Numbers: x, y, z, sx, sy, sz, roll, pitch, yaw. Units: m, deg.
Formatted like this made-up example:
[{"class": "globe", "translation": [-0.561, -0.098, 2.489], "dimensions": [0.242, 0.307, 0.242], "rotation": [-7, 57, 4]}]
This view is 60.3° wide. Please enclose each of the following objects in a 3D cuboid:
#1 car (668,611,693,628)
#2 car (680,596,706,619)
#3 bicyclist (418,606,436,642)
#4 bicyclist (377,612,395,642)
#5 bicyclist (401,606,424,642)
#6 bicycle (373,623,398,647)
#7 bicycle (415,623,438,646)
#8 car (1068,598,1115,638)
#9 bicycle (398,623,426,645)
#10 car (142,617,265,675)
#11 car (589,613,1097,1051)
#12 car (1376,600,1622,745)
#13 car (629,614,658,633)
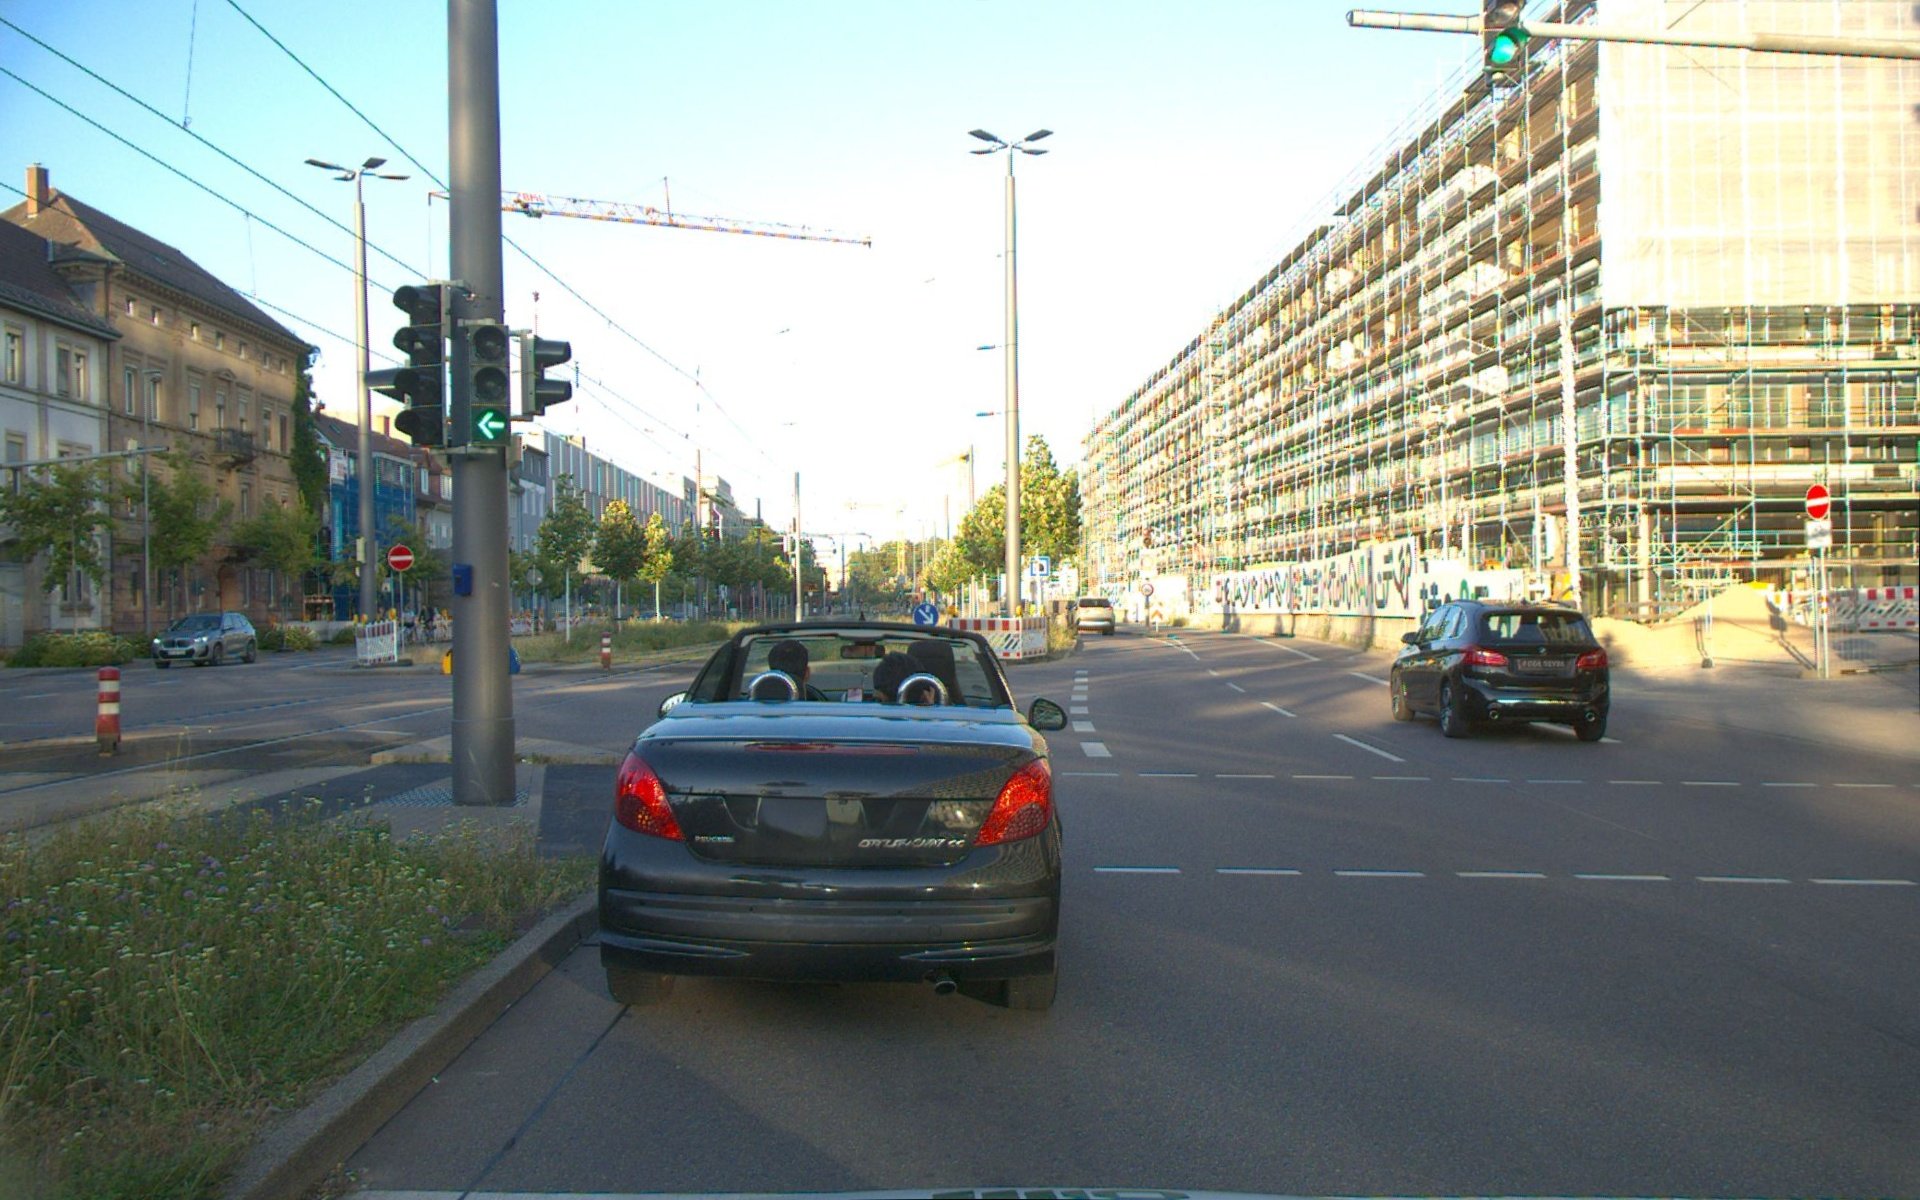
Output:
[{"class": "car", "translation": [-25.790, 1.786, 152.689], "dimensions": [1.624, 1.456, 3.894], "rotation": [1, 0, -1]}, {"class": "car", "translation": [-23.779, 0.632, 147.544], "dimensions": [1.624, 1.998, 4.265], "rotation": [1, 0, -1]}, {"class": "bicyclist", "translation": [-24.008, 1.082, 74.477], "dimensions": [0.578, 1.597, 0.710], "rotation": [1, 0, -1]}, {"class": "bicyclist", "translation": [-25.209, 1.189, 72.627], "dimensions": [0.578, 1.289, 0.460], "rotation": [1, 0, -1]}, {"class": "bicyclist", "translation": [-24.956, 1.088, 75.417], "dimensions": [0.756, 1.598, 0.792], "rotation": [1, 0, -1]}, {"class": "bicycle", "translation": [-25.216, 1.512, 72.616], "dimensions": [0.578, 1.006, 1.556], "rotation": [1, 0, -1]}, {"class": "bicycle", "translation": [-24.018, 1.540, 74.475], "dimensions": [0.578, 0.992, 1.556], "rotation": [1, 0, -1]}, {"class": "car", "translation": [5.723, 0.772, 72.120], "dimensions": [1.796, 1.702, 4.283], "rotation": [0, 0, 1]}, {"class": "bicycle", "translation": [-24.966, 1.554, 75.413], "dimensions": [0.756, 0.961, 1.639], "rotation": [1, 0, -1]}, {"class": "car", "translation": [-23.467, 1.404, 51.484], "dimensions": [1.953, 1.608, 4.123], "rotation": [-2, 0, -2]}, {"class": "car", "translation": [-0.407, 0.769, 7.366], "dimensions": [1.640, 1.376, 3.999], "rotation": [0, 0, -1]}, {"class": "car", "translation": [6.434, 0.784, 20.299], "dimensions": [1.782, 1.545, 4.794], "rotation": [0, 0, 4]}, {"class": "car", "translation": [-25.233, 1.871, 132.062], "dimensions": [1.624, 1.456, 3.894], "rotation": [1, 0, -1]}]
